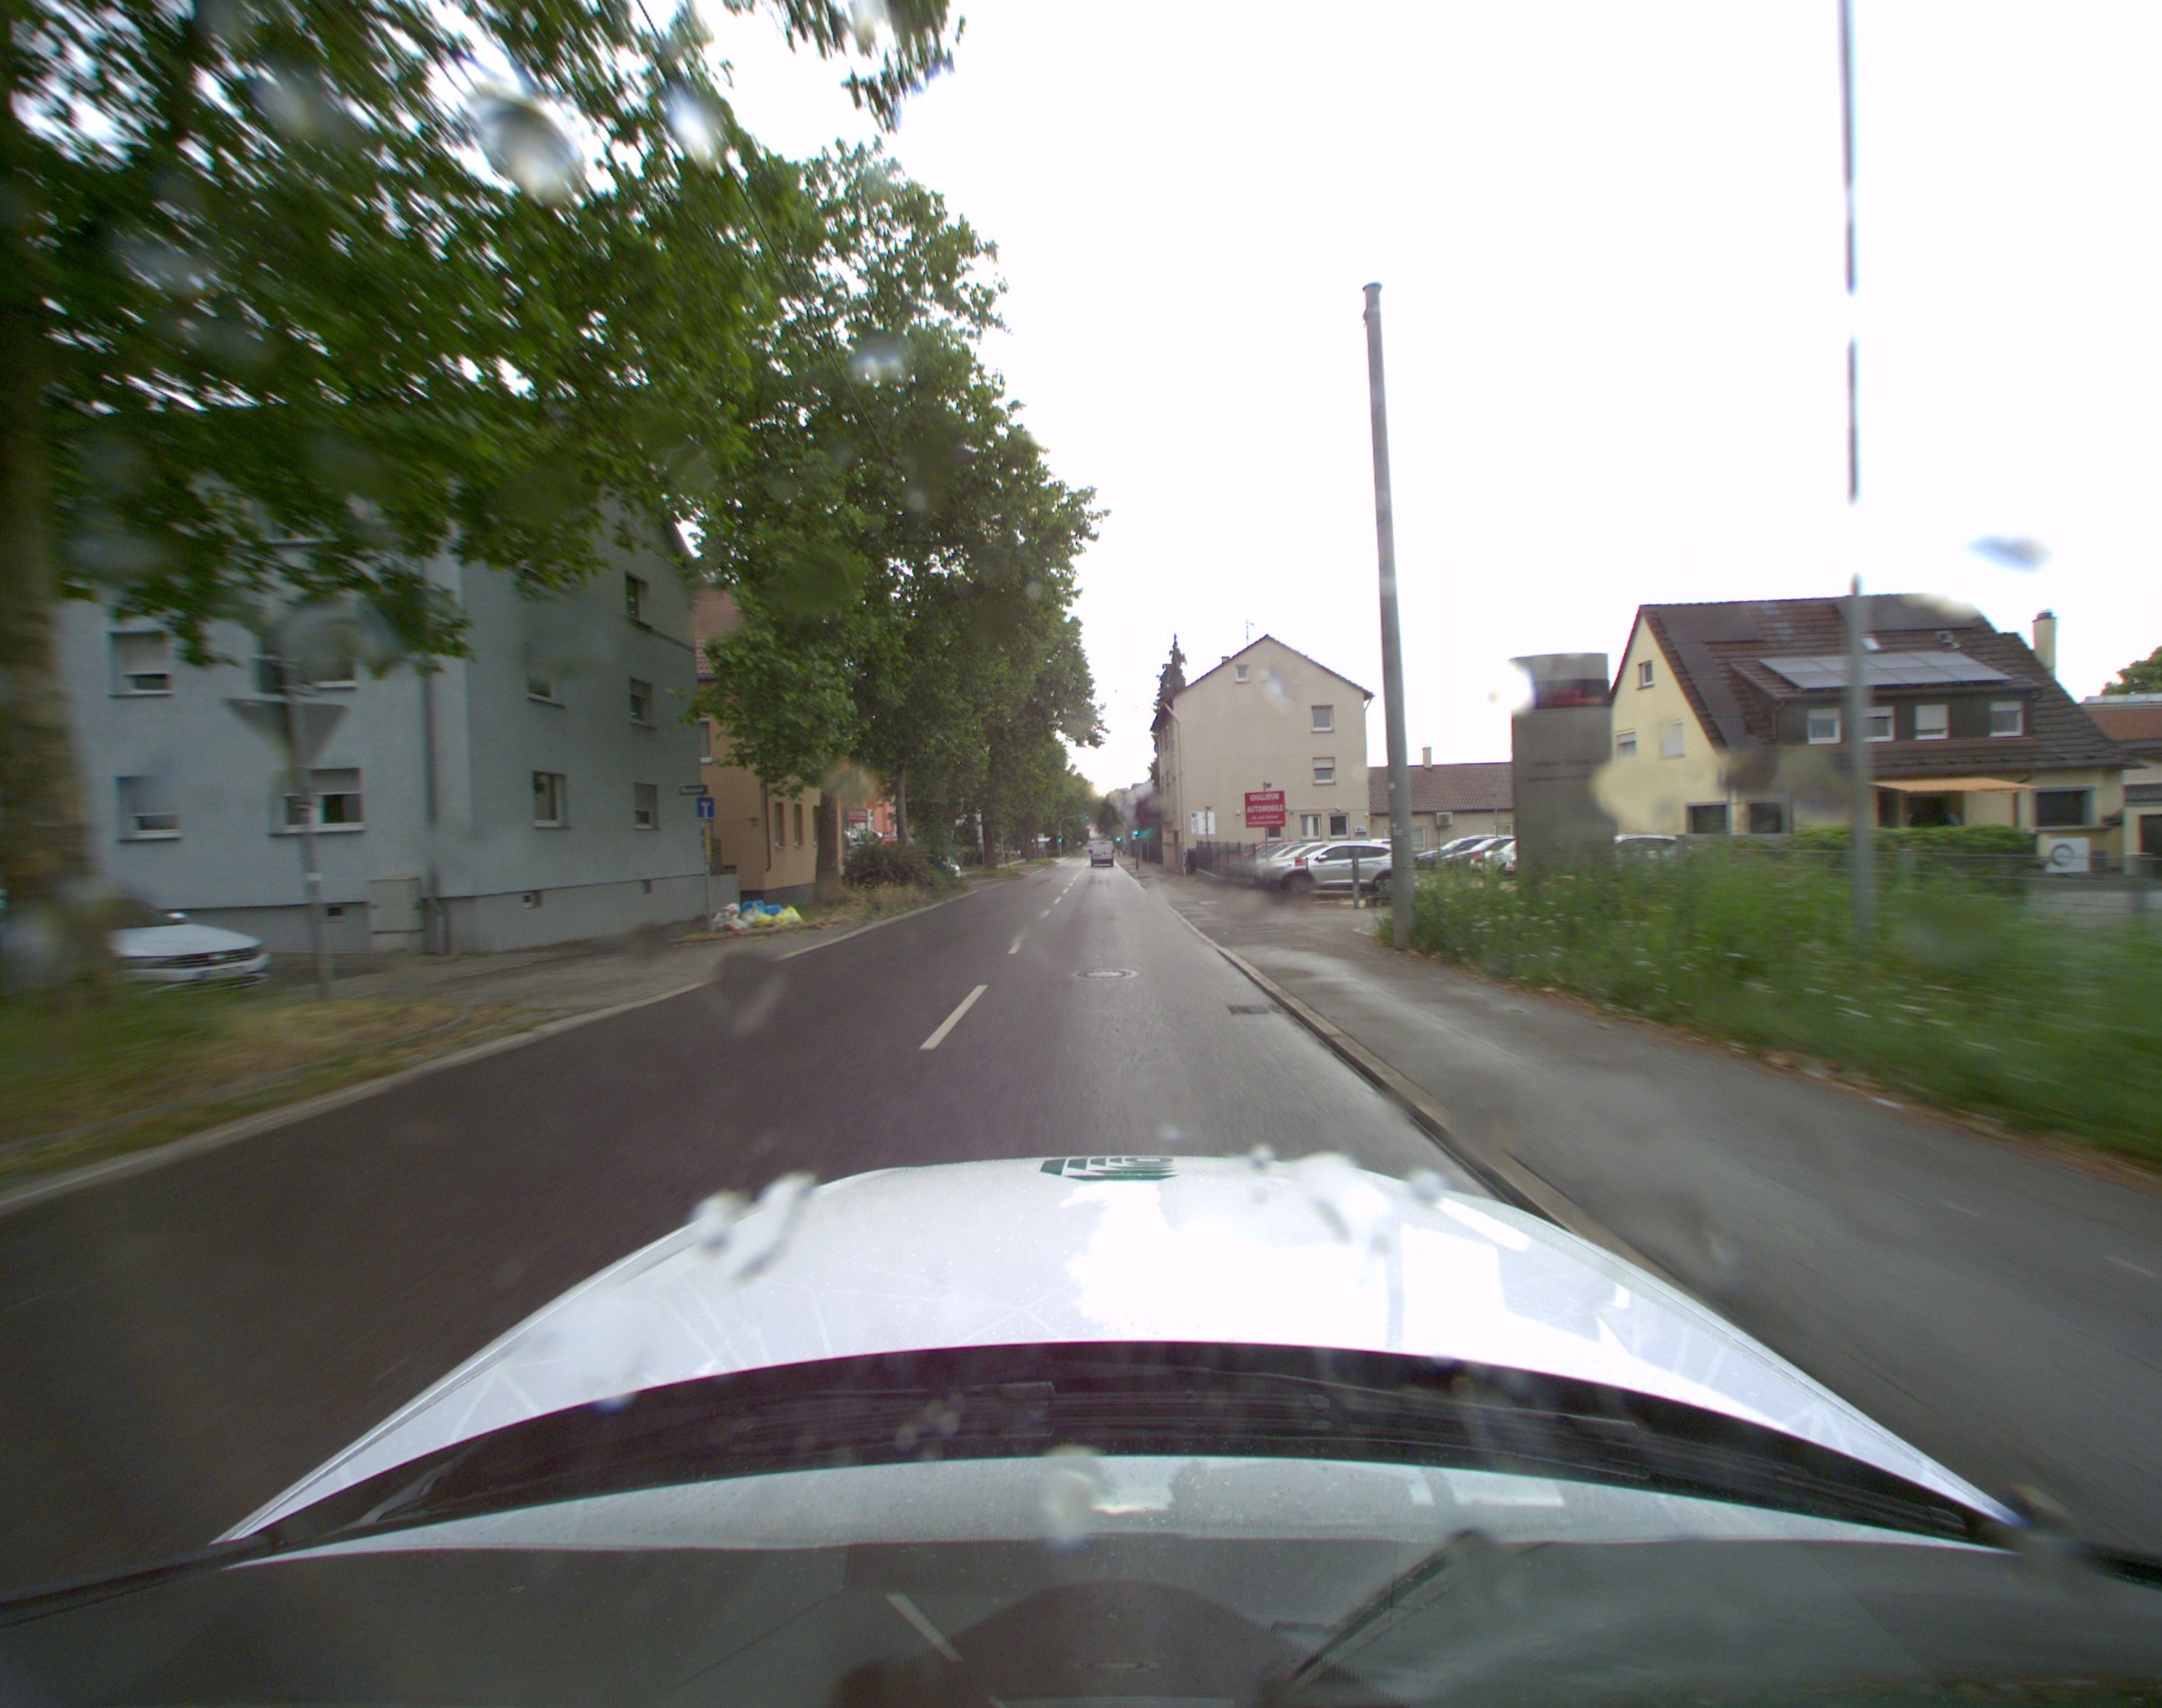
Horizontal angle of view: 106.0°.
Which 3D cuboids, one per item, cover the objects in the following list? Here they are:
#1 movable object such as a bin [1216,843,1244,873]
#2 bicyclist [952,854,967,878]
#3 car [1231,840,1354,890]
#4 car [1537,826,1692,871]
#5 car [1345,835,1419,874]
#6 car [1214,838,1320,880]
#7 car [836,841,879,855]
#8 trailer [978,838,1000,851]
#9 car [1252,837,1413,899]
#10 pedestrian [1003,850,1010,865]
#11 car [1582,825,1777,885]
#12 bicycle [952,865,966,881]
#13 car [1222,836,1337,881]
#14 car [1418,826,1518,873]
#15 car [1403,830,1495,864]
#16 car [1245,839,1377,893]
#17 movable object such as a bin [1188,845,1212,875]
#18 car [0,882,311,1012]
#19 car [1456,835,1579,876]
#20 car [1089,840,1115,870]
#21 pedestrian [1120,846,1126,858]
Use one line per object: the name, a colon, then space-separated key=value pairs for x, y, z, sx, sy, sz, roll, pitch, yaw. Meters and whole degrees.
movable object such as a bin: x=7.954 y=0.238 z=43.635 sx=1.230 sy=1.509 sz=1.111 roll=-4 pitch=-1 yaw=0
bicyclist: x=-7.876 y=0.793 z=52.882 sx=0.830 sy=1.553 sz=0.816 roll=0 pitch=-1 yaw=0
car: x=7.688 y=0.406 z=29.841 sx=4.052 sy=1.736 sz=1.870 roll=0 pitch=-1 yaw=1
car: x=18.049 y=-0.155 z=27.709 sx=3.974 sy=1.468 sz=1.999 roll=0 pitch=-1 yaw=-1
car: x=12.590 y=0.042 z=34.252 sx=1.802 sy=1.530 sz=3.628 roll=0 pitch=-1 yaw=1
car: x=8.069 y=0.225 z=35.578 sx=4.213 sy=1.736 sz=1.870 roll=0 pitch=-1 yaw=1
car: x=-23.745 y=-0.636 z=86.495 sx=3.970 sy=1.415 sz=1.850 roll=0 pitch=-1 yaw=3
trailer: x=-11.830 y=-1.186 z=104.663 sx=2.694 sy=1.645 sz=1.481 roll=0 pitch=0 yaw=1
car: x=7.542 y=0.422 z=24.753 sx=4.287 sy=1.768 sz=2.000 roll=-1 pitch=-1 yaw=1
pedestrian: x=-8.107 y=0.410 z=88.882 sx=0.754 sy=1.611 sz=0.834 roll=0 pitch=-1 yaw=-3
car: x=17.956 y=0.022 z=24.579 sx=4.487 sy=1.626 sz=1.870 roll=-2 pitch=0 yaw=1
bicycle: x=-7.887 y=1.210 z=52.821 sx=0.552 sy=0.996 sz=2.265 roll=0 pitch=-1 yaw=0
car: x=7.923 y=0.203 z=32.762 sx=4.213 sy=1.736 sz=1.870 roll=0 pitch=-1 yaw=1
car: x=16.844 y=-0.180 z=35.572 sx=3.569 sy=2.014 sz=1.723 roll=0 pitch=-1 yaw=-2
car: x=18.039 y=-0.303 z=40.068 sx=3.955 sy=1.593 sz=1.830 roll=0 pitch=-1 yaw=18
car: x=7.603 y=0.382 z=27.200 sx=3.935 sy=1.724 sz=1.791 roll=0 pitch=0 yaw=1
movable object such as a bin: x=6.384 y=0.339 z=43.729 sx=1.106 sy=1.509 sz=0.987 roll=-4 pitch=-1 yaw=0
car: x=-13.121 y=1.125 z=10.465 sx=4.646 sy=1.477 sz=1.870 roll=0 pitch=-1 yaw=1
car: x=17.689 y=0.078 z=33.153 sx=4.071 sy=1.600 sz=1.794 roll=0 pitch=-1 yaw=-1
car: x=1.903 y=0.100 z=73.569 sx=2.274 sy=2.553 sz=4.001 roll=-1 pitch=-1 yaw=1
pedestrian: x=5.988 y=-0.277 z=115.227 sx=0.741 sy=1.704 sz=0.900 roll=0 pitch=-1 yaw=-4
